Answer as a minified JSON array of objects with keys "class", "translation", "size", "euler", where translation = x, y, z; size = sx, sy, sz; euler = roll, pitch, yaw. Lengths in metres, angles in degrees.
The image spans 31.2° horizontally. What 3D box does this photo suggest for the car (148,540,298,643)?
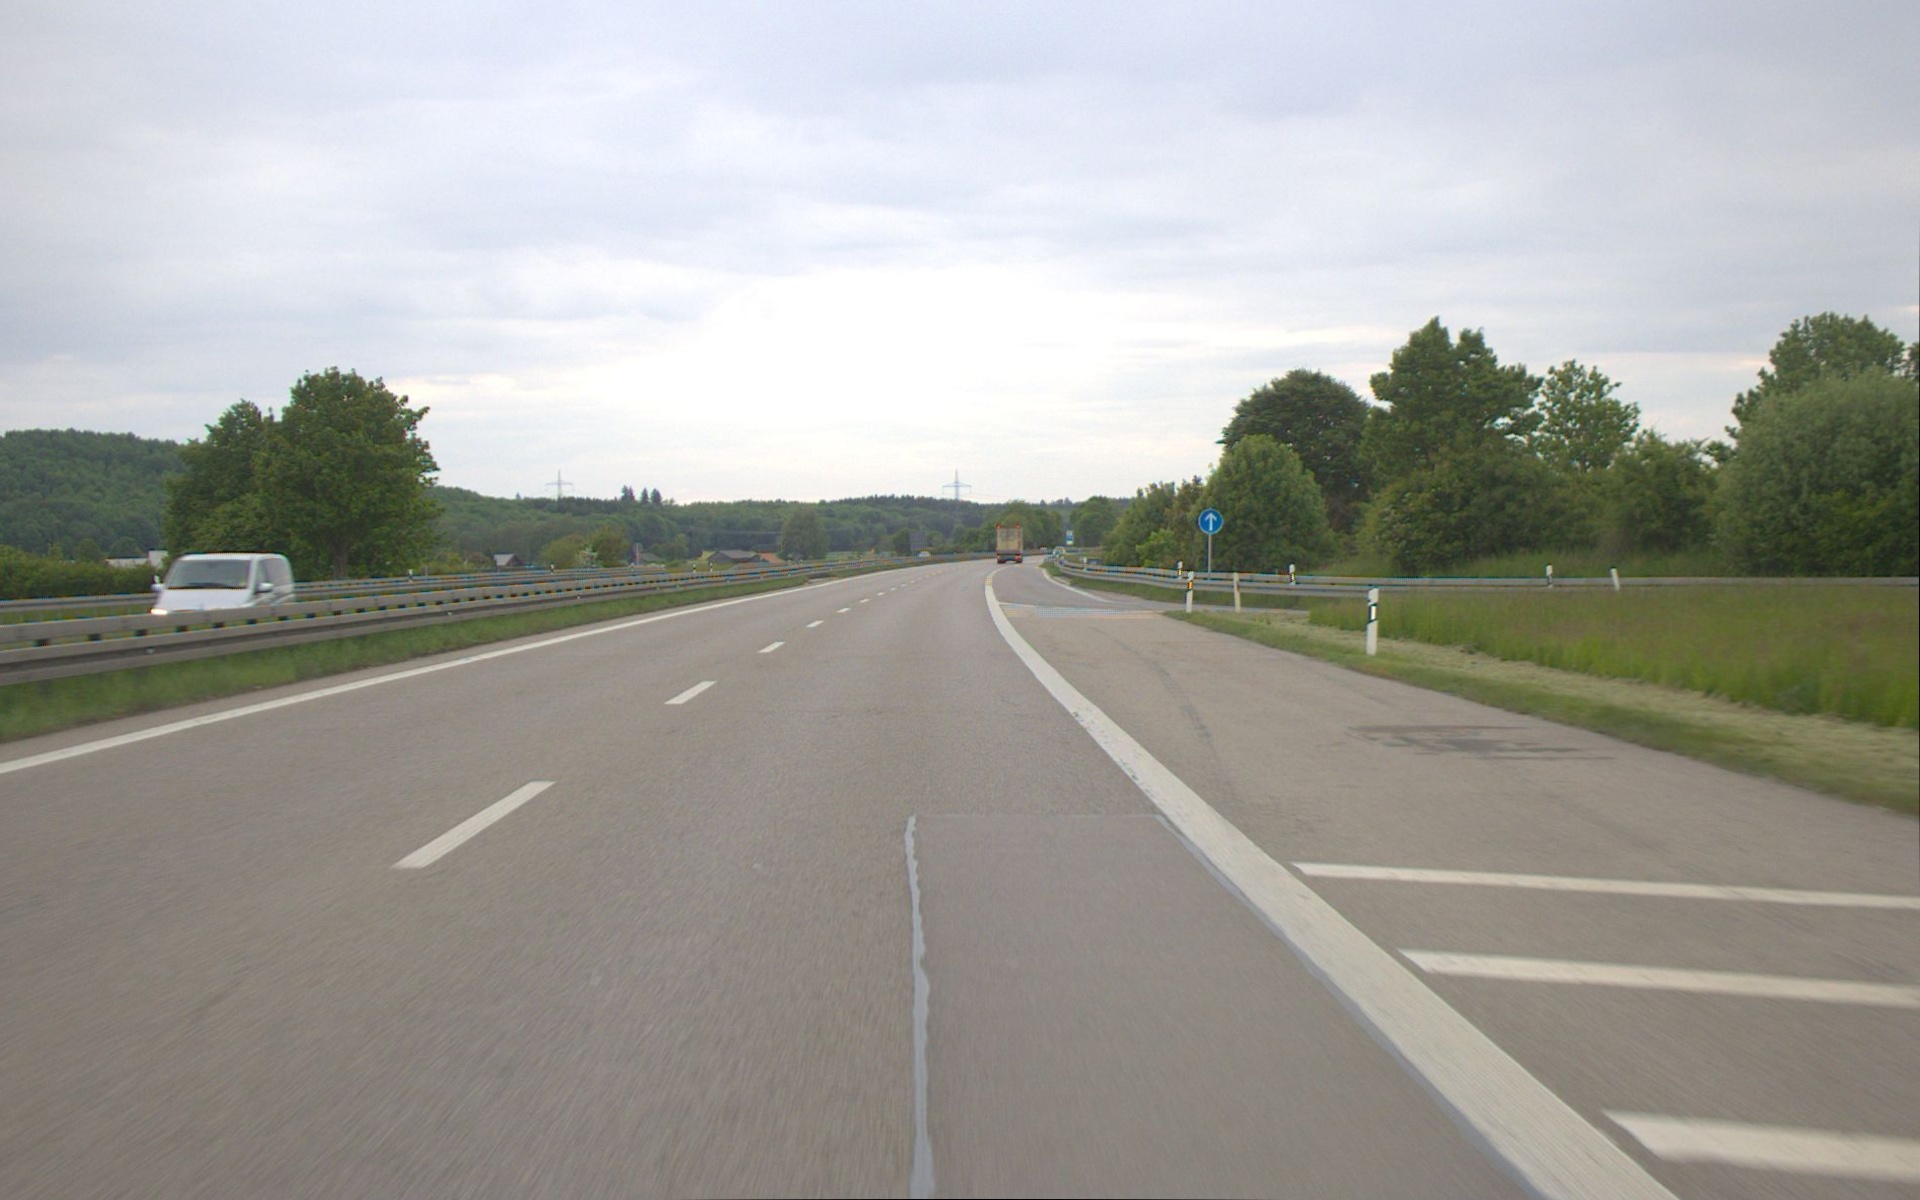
[{"class":"car","translation":[-14.113,-0.198,66.098],"size":[1.906,1.884,5.072],"euler":[0,1,-1]}]
